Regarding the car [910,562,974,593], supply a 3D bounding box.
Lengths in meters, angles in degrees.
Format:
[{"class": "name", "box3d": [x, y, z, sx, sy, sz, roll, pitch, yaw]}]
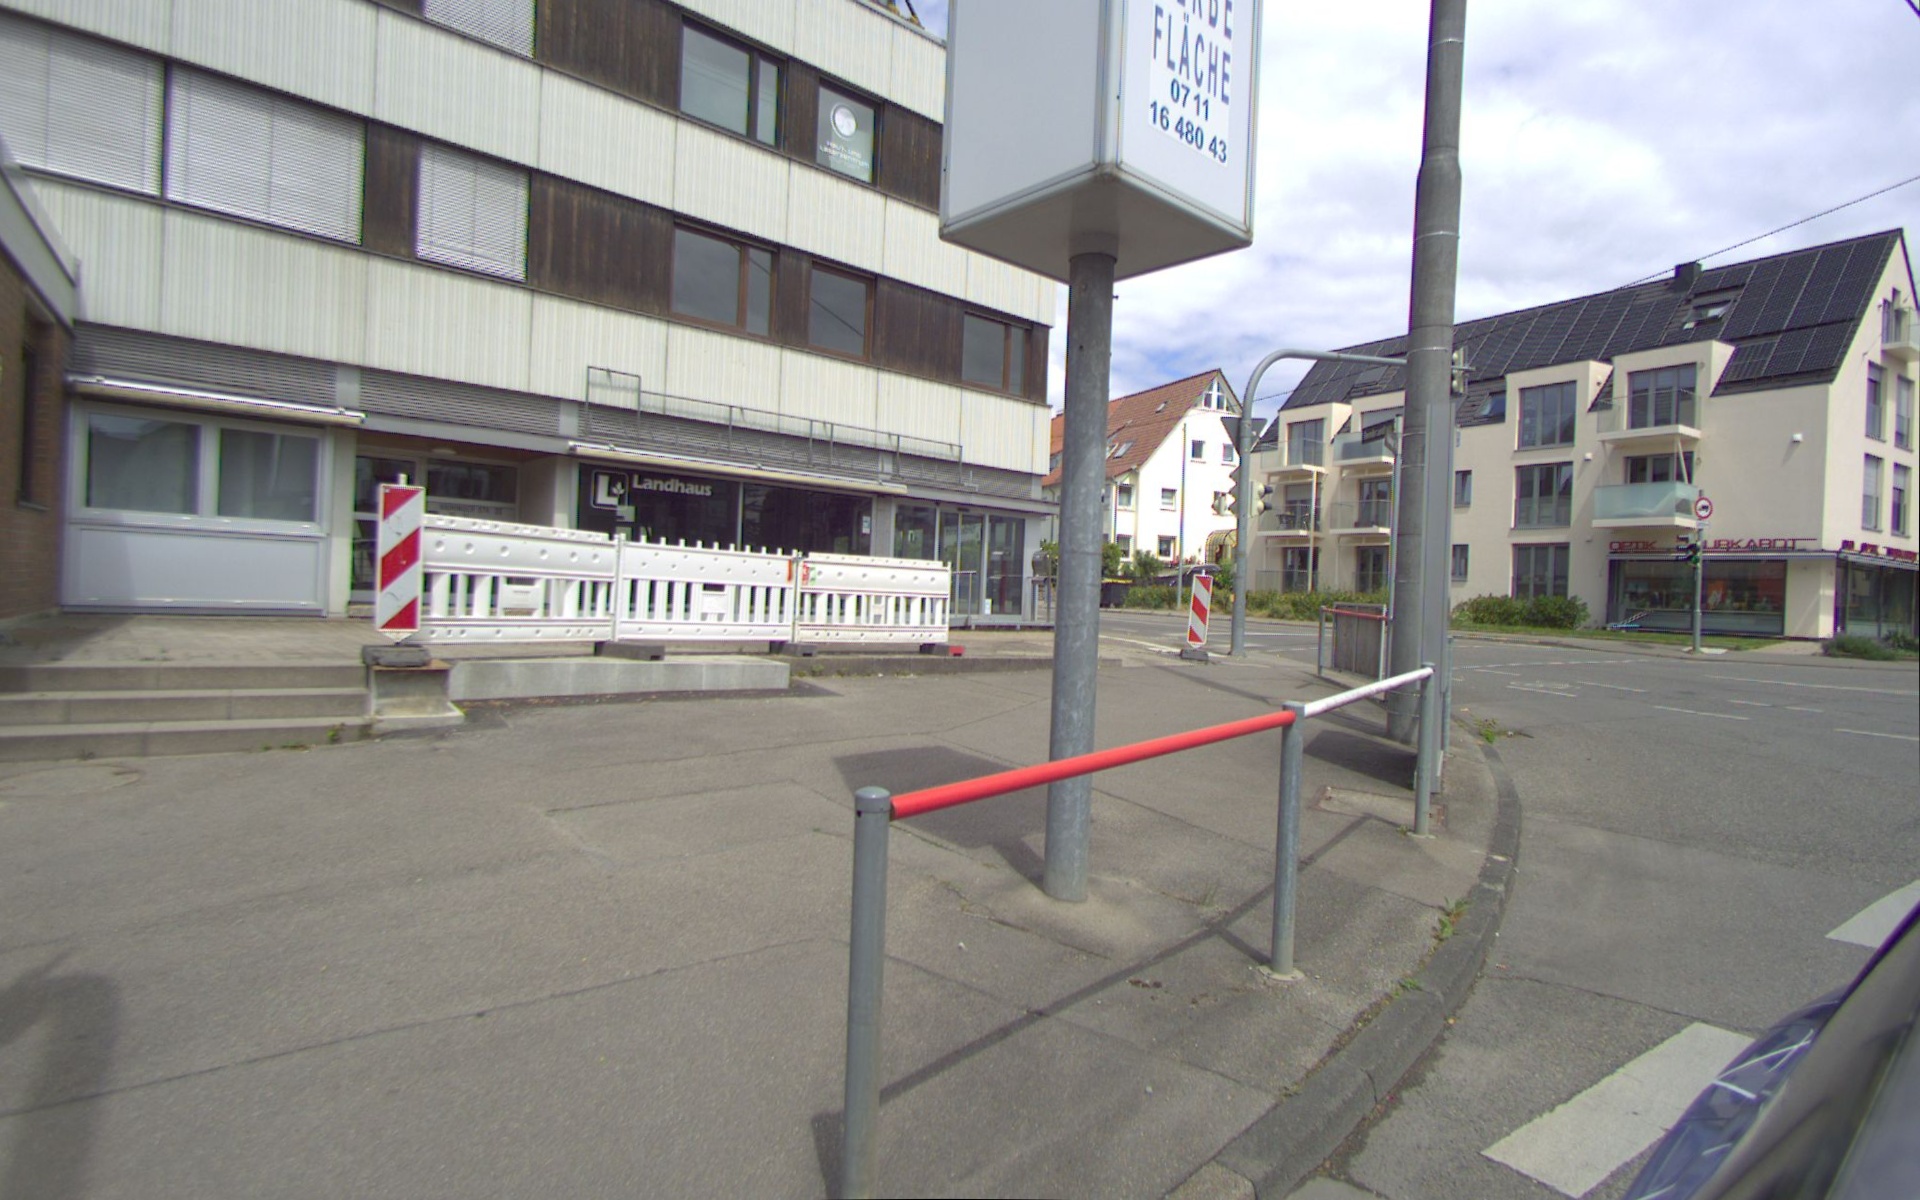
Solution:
[{"class": "car", "box3d": [-1.098, -1.334, 58.828, 1.959, 1.653, 4.462, 2, 2, -26]}]

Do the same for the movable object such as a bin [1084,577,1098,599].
[{"class": "movable object such as a bin", "box3d": [6.455, -0.600, 49.833, 0.518, 1.078, 0.651, 3, 1, 25]}]

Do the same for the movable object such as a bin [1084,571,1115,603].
[{"class": "movable object such as a bin", "box3d": [6.733, -0.621, 48.856, 1.070, 1.464, 0.983, 2, 2, -26]}]

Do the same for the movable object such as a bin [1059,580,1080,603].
[{"class": "movable object such as a bin", "box3d": [5.425, -0.426, 50.236, 0.748, 1.078, 0.694, 2, 1, -19]}]

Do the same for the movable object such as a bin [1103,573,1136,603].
[{"class": "movable object such as a bin", "box3d": [7.473, -0.570, 47.463, 1.070, 1.379, 0.983, 2, 2, -26]}]

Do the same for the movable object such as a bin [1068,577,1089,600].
[{"class": "movable object such as a bin", "box3d": [5.784, -0.565, 49.580, 0.748, 1.078, 0.694, 2, 1, -19]}]
